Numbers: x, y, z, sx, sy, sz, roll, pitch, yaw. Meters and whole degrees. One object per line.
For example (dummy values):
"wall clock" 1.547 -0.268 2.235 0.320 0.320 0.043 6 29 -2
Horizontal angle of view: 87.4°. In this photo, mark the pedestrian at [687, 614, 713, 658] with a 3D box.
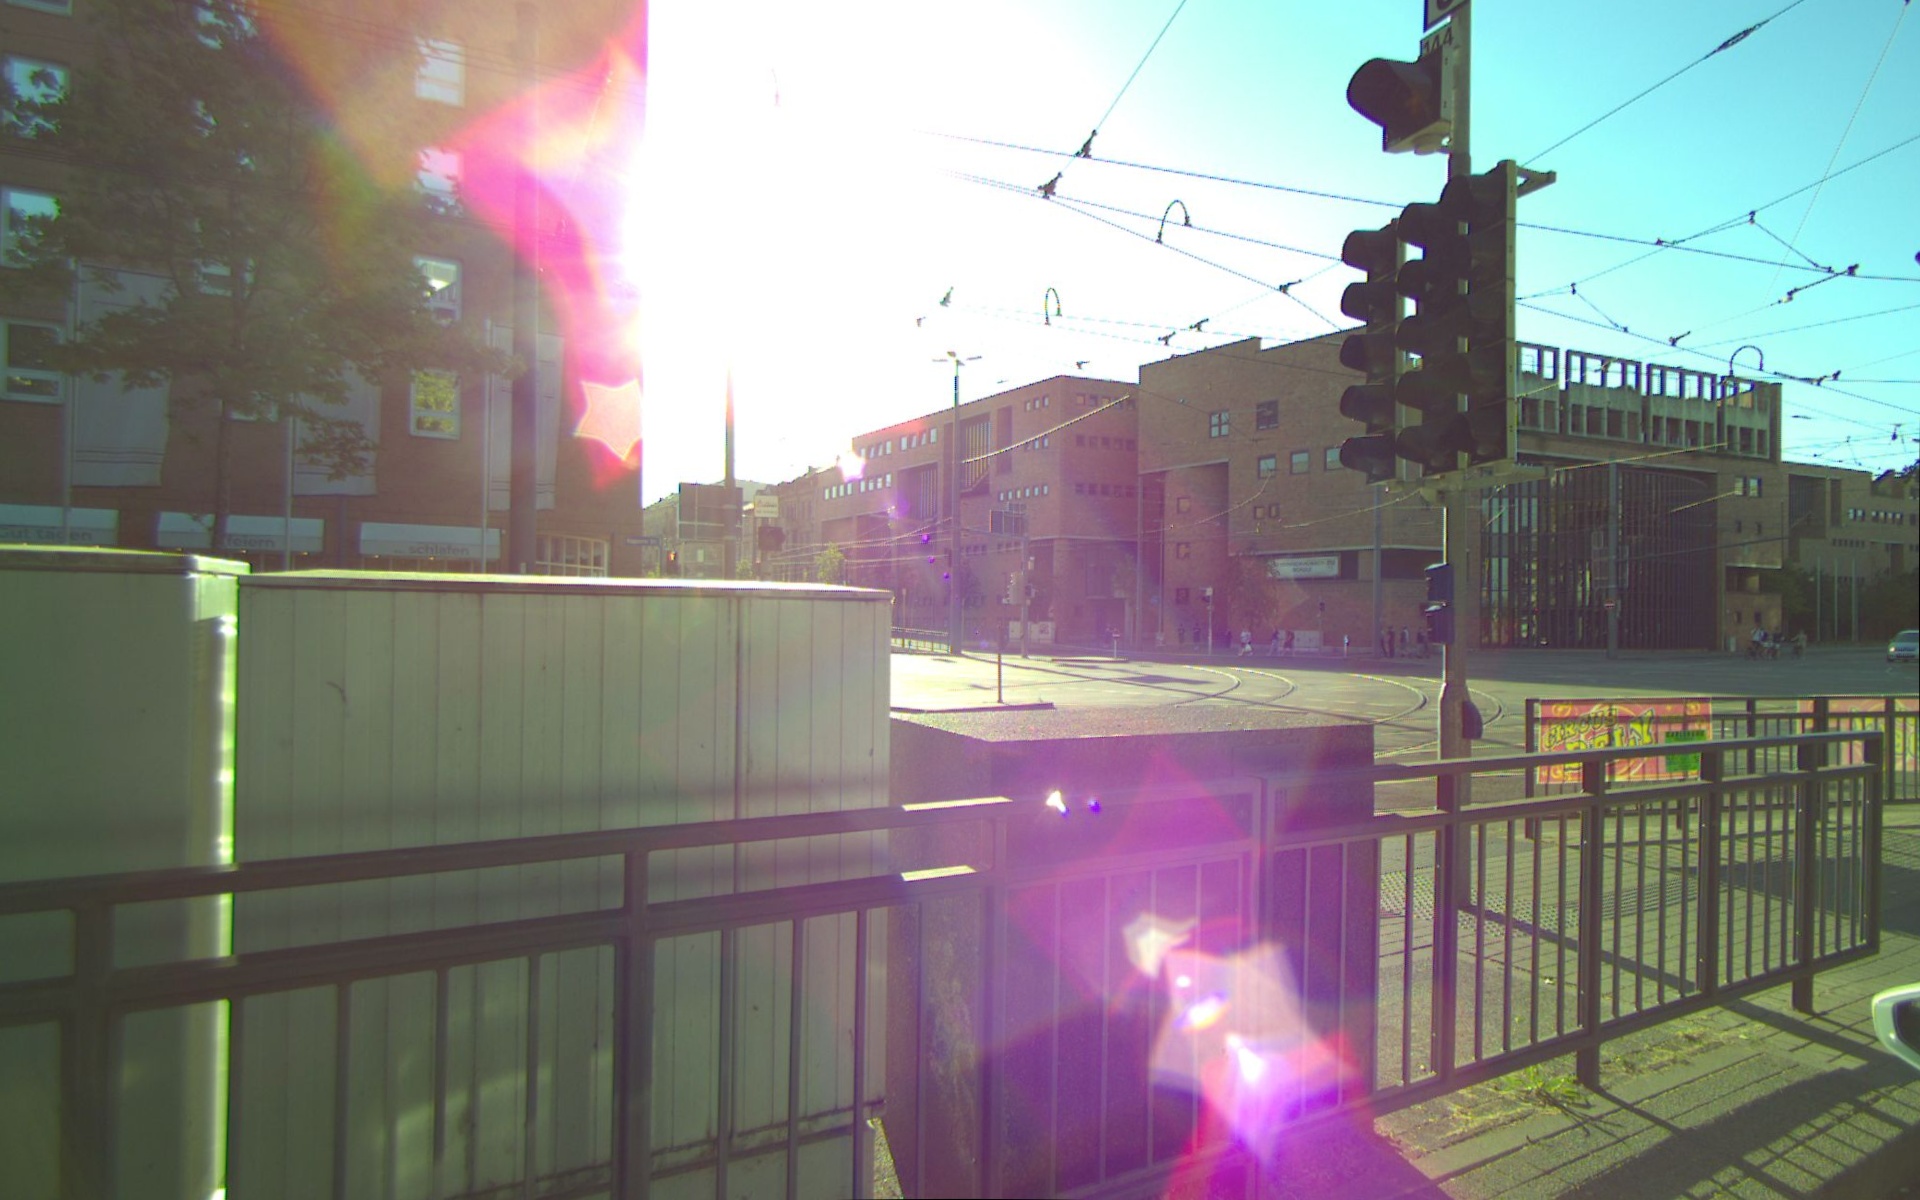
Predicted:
"pedestrian" -12.462 1.710 48.118 0.856 2.040 0.880 2 0 -39

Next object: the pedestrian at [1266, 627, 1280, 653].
"pedestrian" 17.778 2.263 57.125 0.602 1.473 0.570 0 -1 -1

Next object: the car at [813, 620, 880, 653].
"car" -6.165 1.943 54.271 1.980 1.572 3.961 2 0 -35

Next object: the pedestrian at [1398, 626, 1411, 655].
"pedestrian" 25.761 2.342 58.199 0.606 1.647 0.613 0 -1 15

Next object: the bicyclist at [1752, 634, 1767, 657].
"bicyclist" 46.654 2.650 58.644 0.574 1.321 0.503 1 -1 -30

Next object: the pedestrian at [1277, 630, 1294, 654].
"pedestrian" 17.990 2.316 55.435 0.671 1.357 0.601 1 -1 -22

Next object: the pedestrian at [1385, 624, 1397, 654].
"pedestrian" 24.260 2.192 56.558 0.540 1.706 0.592 0 -1 13

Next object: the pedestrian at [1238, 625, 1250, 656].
"pedestrian" 15.742 2.235 55.699 0.538 1.670 0.601 0 -1 0

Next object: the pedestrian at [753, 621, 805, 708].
"pedestrian" -3.566 1.244 19.747 0.709 1.669 0.953 1 -1 -30

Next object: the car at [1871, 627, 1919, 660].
"car" 48.978 2.226 51.783 3.954 1.661 1.983 1 -2 -31

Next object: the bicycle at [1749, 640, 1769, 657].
"bicycle" 46.627 2.833 58.617 1.304 0.976 0.465 1 -1 -30

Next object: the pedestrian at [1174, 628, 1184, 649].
"pedestrian" 15.159 2.668 69.423 0.524 1.482 0.590 1 -1 -6

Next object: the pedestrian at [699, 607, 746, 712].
"pedestrian" -4.357 1.073 18.405 0.647 1.864 0.835 1 -1 -28

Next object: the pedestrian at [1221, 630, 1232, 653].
"pedestrian" 17.770 2.760 67.027 0.463 1.482 0.505 1 -1 -37

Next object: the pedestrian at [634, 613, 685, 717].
"pedestrian" -5.473 1.164 18.295 0.713 1.837 0.904 1 -1 -28

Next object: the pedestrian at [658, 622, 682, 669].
"pedestrian" -10.552 1.646 36.546 0.658 1.669 0.638 1 -1 -34

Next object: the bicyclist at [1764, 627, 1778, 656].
"bicyclist" 44.956 2.284 55.671 0.574 1.624 0.456 1 -1 -30

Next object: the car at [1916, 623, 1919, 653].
"car" 55.248 2.113 55.897 3.954 1.661 1.983 1 -2 -31

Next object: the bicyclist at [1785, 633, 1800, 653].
"bicyclist" 49.325 2.562 59.501 0.574 1.194 0.503 1 -1 -30

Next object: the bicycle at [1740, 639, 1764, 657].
"bicycle" 44.488 2.711 56.429 1.568 0.976 0.539 1 -1 -30

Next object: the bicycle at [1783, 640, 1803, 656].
"bicycle" 49.357 2.835 59.510 1.332 0.976 0.449 1 -1 -30

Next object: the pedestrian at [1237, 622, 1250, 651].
"pedestrian" 15.983 2.047 56.639 0.578 1.635 0.598 0 -1 -1

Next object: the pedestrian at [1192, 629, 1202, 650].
"pedestrian" 16.364 2.714 69.408 0.549 1.445 0.556 0 -1 1

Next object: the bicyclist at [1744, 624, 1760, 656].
"bicyclist" 44.433 2.252 56.381 0.574 1.754 0.534 1 -1 -30

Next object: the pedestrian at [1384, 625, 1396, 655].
"pedestrian" 24.969 2.307 58.334 0.538 1.706 0.574 0 -1 17

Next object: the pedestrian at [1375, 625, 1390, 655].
"pedestrian" 24.266 2.270 57.684 0.612 1.706 0.648 -1 -1 38

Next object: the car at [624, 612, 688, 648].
"car" -18.505 1.800 60.946 1.982 2.122 5.156 1 -2 -38

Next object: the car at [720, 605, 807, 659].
"car" -9.432 1.519 47.919 1.982 2.419 5.156 1 -2 -38

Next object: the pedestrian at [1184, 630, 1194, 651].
"pedestrian" 15.789 2.771 69.327 0.562 1.428 0.554 0 -1 4

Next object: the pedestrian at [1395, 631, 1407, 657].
"pedestrian" 25.192 2.519 57.385 0.589 1.440 0.641 0 -1 31

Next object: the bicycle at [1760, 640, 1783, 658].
"bicycle" 44.957 2.692 55.648 1.557 0.976 0.470 1 -1 -30

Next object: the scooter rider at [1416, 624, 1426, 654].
"scooter rider" 25.425 2.164 55.387 0.429 1.669 0.229 0 -1 15

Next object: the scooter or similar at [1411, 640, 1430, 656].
"scooter or similar" 25.374 2.641 55.376 0.931 0.911 0.176 0 -1 14

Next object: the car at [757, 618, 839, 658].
"car" -8.418 1.912 51.796 1.982 1.928 5.156 1 -2 -38
